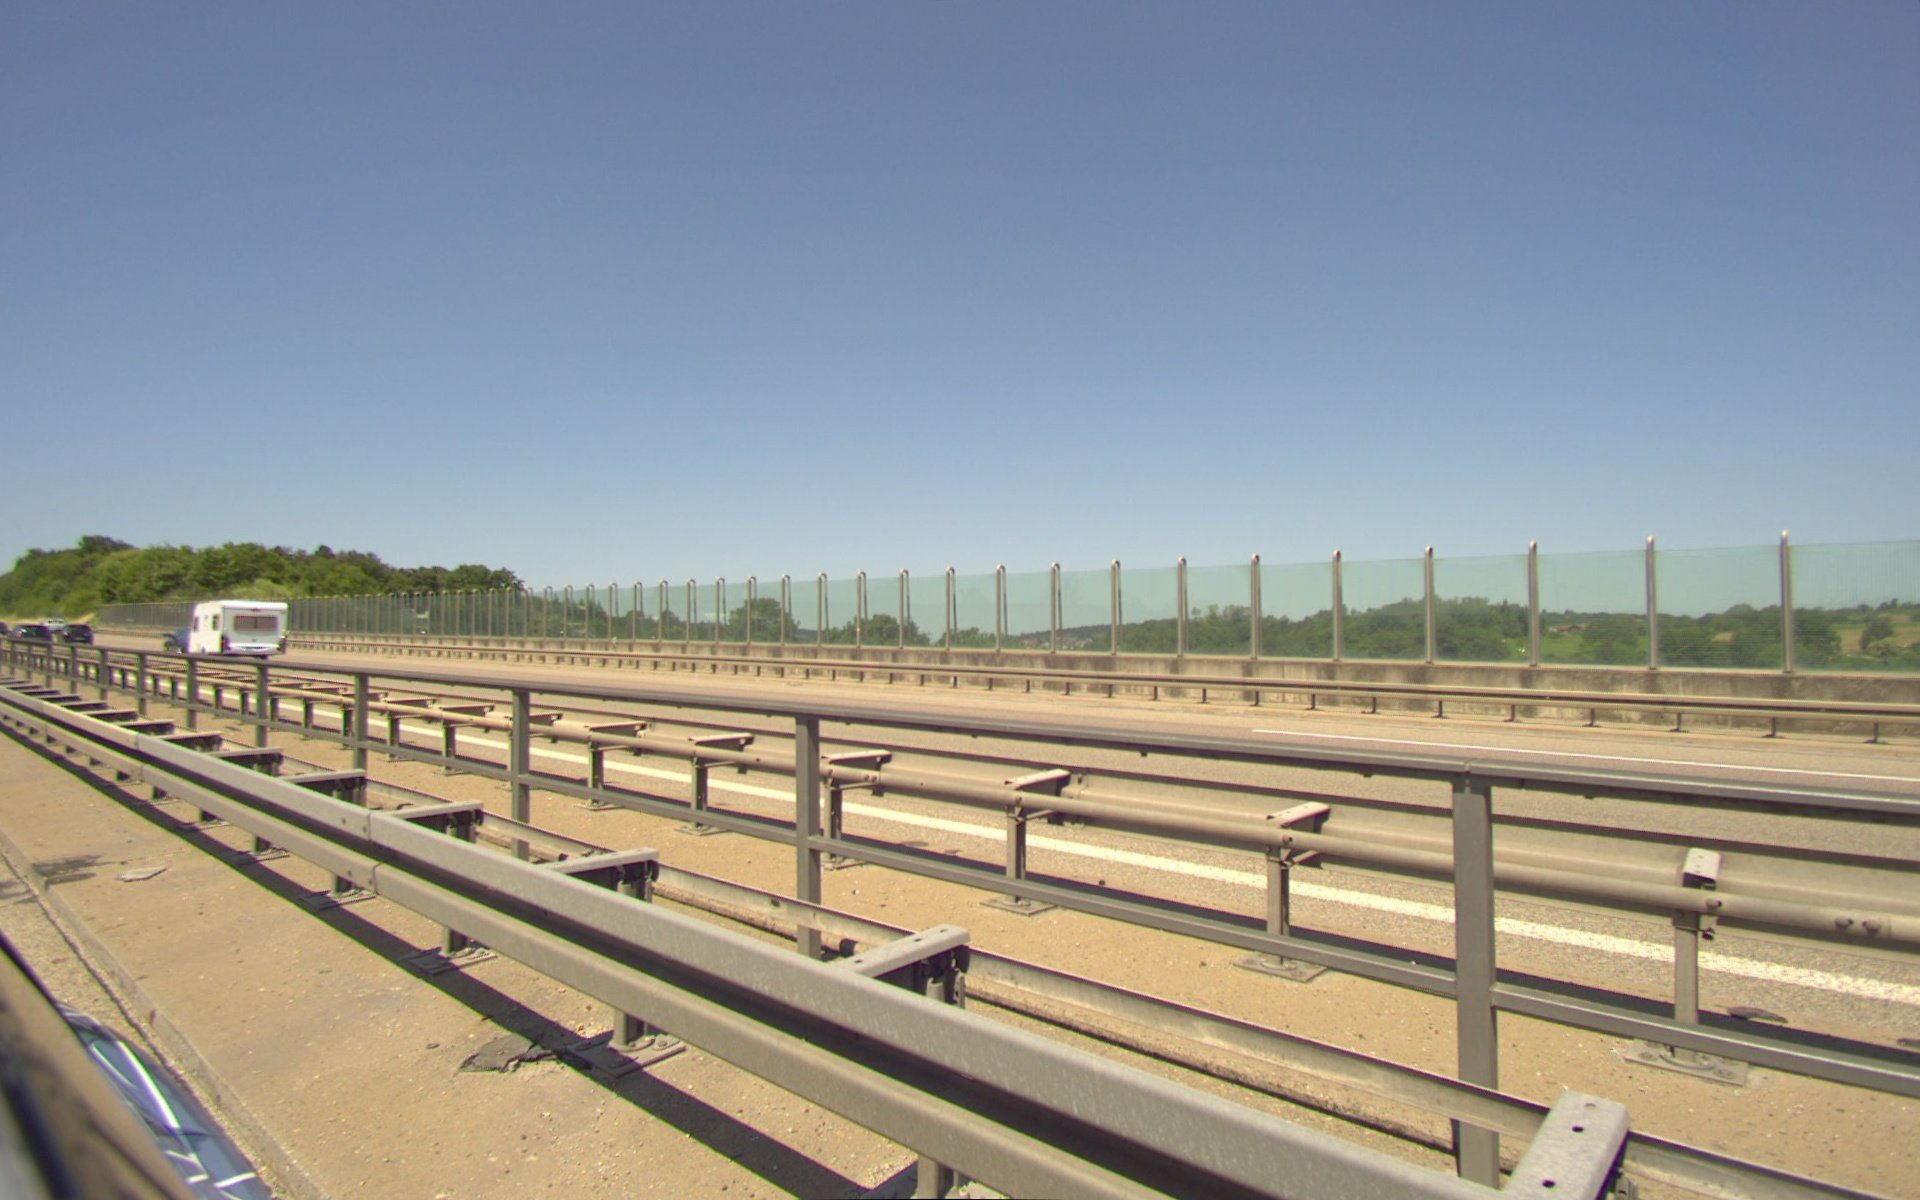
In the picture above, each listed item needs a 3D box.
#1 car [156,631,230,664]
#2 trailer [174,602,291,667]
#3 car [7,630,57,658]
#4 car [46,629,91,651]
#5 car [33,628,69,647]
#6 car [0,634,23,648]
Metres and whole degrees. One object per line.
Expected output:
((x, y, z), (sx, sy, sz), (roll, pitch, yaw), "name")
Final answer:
((-35.267, 2.157, 46.490), (4.680, 1.418, 1.757), (-2, -4, 41), "car")
((-30.854, 1.476, 42.808), (6.770, 2.569, 2.467), (-2, -4, 41), "trailer")
((-51.849, 2.445, 56.518), (3.999, 1.459, 1.650), (-2, -5, 42), "car")
((-61.938, 2.764, 70.300), (4.417, 1.503, 1.712), (-2, -4, 41), "car")
((-94.424, 3.877, 105.098), (5.252, 1.899, 1.973), (-2, -4, 41), "car")
((-98.607, 4.227, 104.944), (4.177, 1.360, 1.581), (-2, -4, 41), "car")
